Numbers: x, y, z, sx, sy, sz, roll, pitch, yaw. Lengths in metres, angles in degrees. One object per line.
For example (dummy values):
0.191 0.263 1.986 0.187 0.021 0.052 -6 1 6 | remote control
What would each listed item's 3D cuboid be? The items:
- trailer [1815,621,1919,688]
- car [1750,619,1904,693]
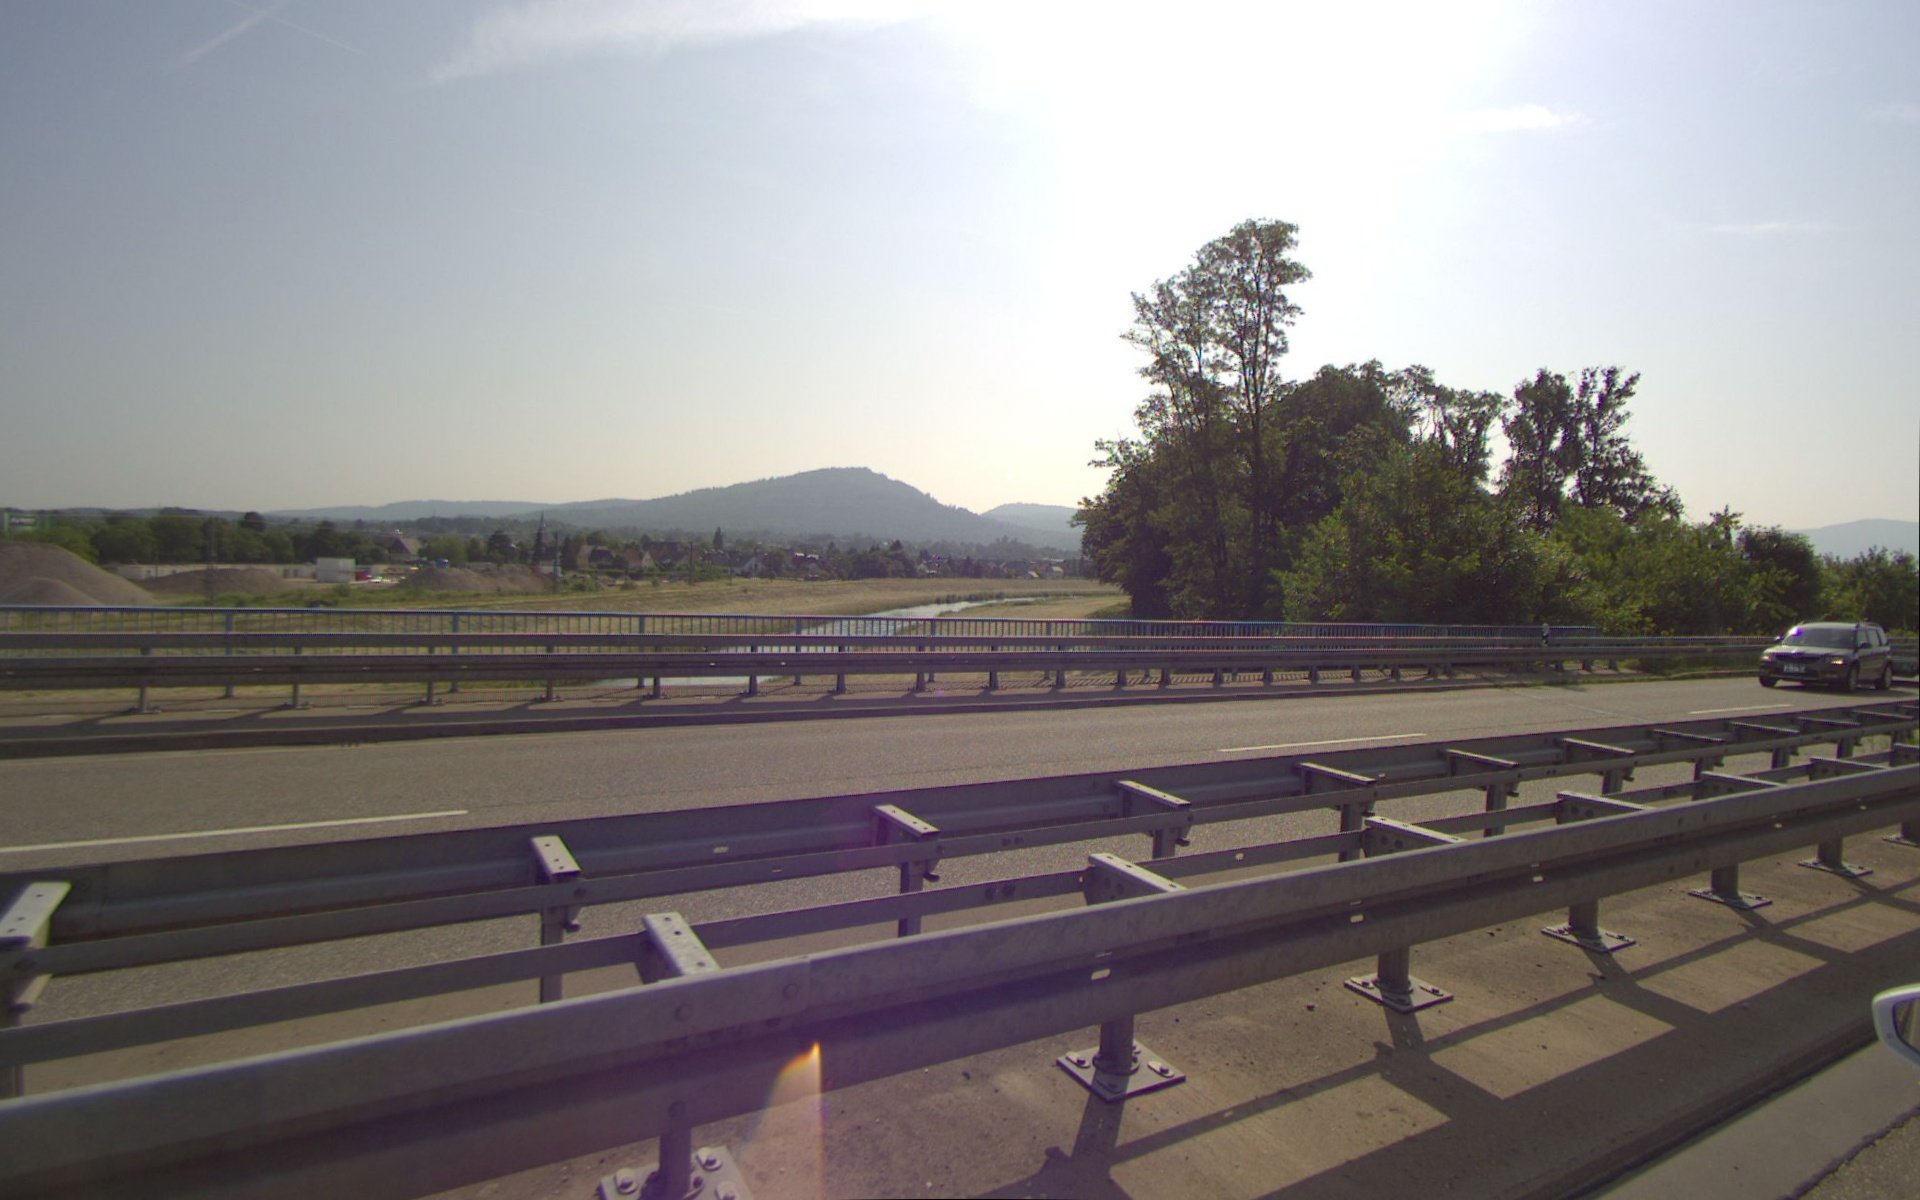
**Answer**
25.291 1.442 27.256 4.757 1.599 1.709 1 1 -31 | trailer
21.578 1.355 24.977 3.955 1.618 1.714 1 2 -31 | car
